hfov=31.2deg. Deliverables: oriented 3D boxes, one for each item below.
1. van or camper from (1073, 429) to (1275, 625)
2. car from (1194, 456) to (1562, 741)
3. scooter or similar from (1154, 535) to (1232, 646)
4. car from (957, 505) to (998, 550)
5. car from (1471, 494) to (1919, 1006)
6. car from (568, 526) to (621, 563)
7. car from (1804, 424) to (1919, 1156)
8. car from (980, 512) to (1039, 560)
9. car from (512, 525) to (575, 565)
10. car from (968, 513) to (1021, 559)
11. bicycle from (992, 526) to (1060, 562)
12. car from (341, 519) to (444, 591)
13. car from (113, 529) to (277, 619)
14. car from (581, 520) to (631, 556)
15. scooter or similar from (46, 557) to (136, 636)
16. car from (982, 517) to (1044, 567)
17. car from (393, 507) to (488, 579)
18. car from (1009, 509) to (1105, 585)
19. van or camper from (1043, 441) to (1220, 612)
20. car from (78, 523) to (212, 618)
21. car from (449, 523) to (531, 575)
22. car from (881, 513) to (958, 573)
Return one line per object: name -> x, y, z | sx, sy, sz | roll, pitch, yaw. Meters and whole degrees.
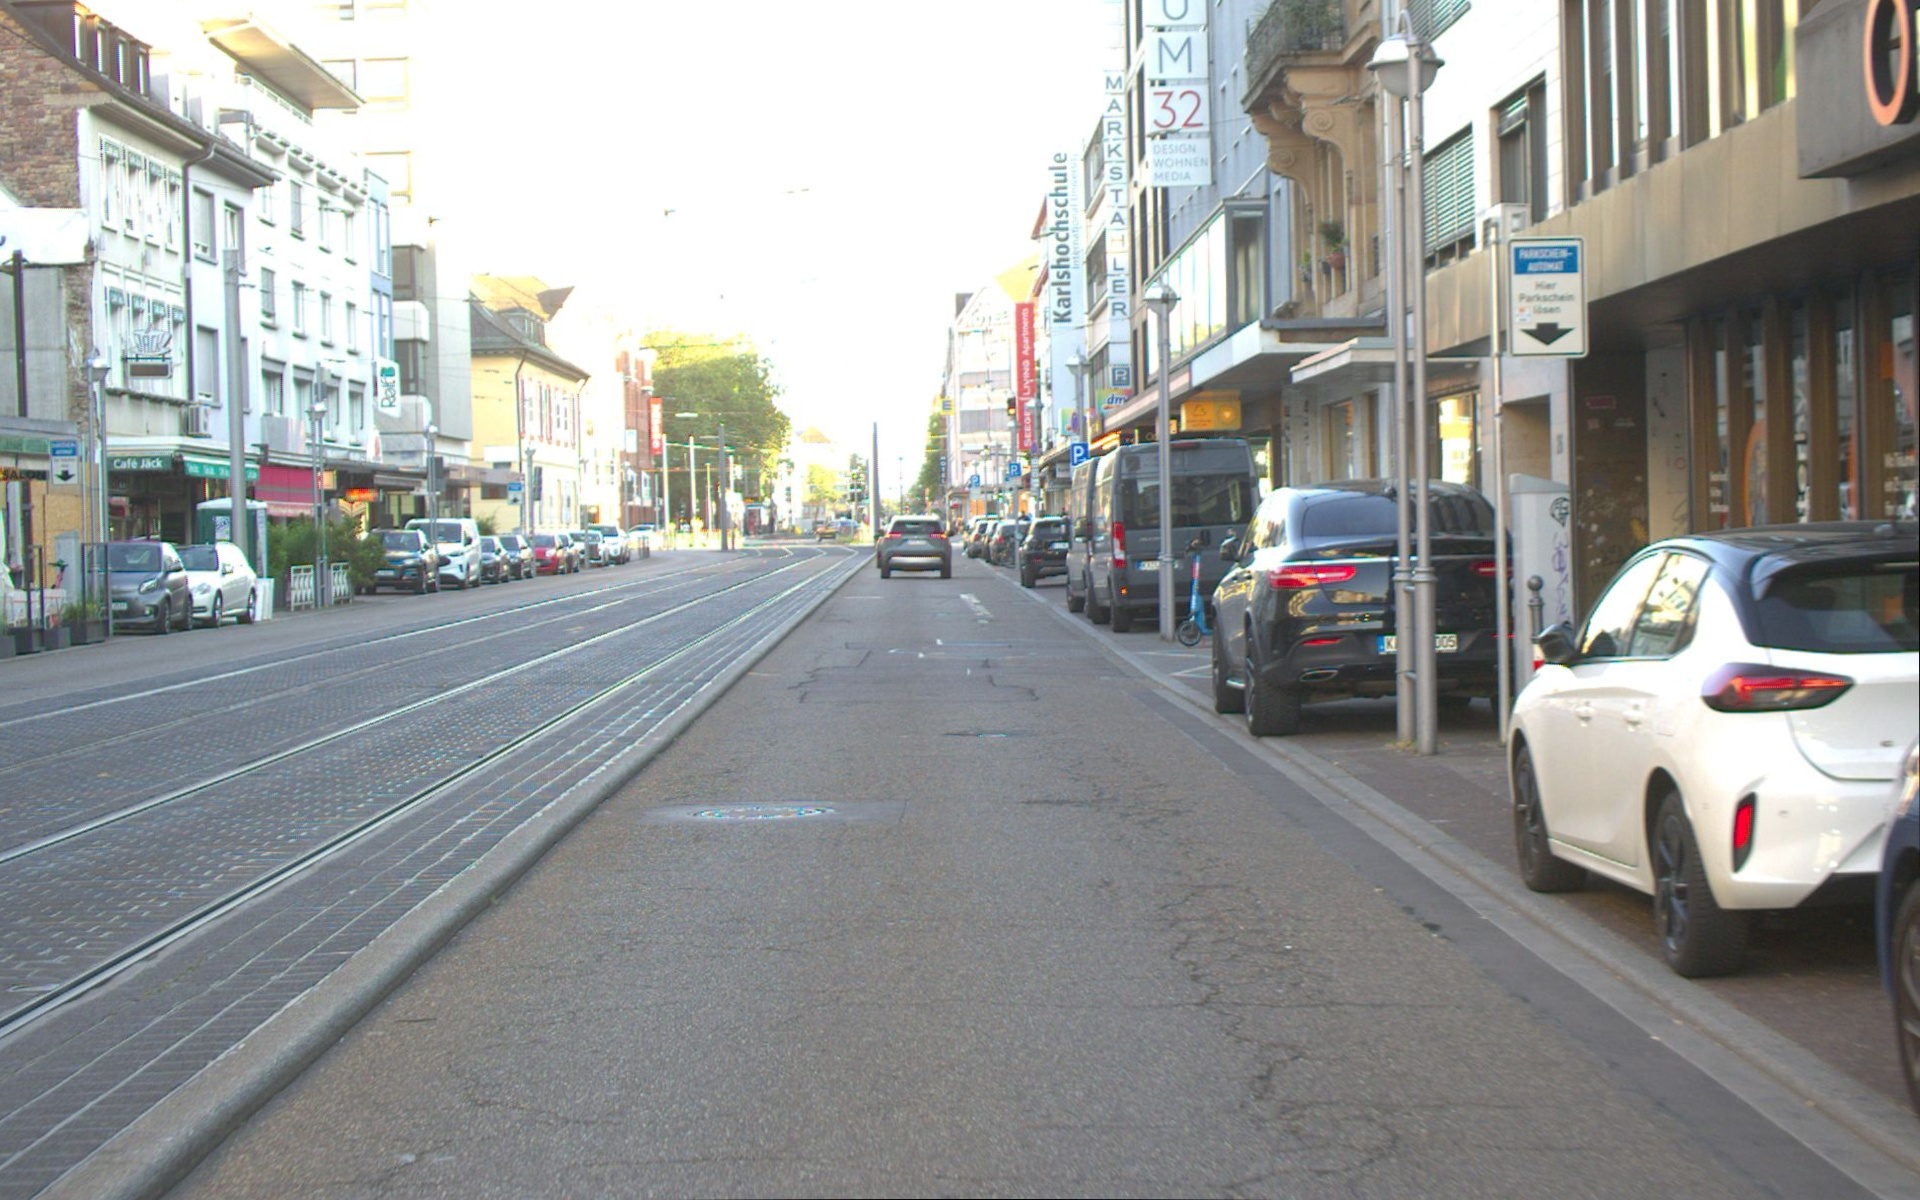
van or camper -> 2.887, -1.020, 47.772 | 2.188, 2.418, 6.133 | -4, 1, -1
car -> 2.864, -0.064, 24.589 | 1.984, 1.728, 4.671 | -3, 1, 0
scooter or similar -> 2.708, -0.116, 39.884 | 0.355, 1.219, 1.113 | -3, 1, 32
car -> 0.880, -3.685, 175.019 | 1.944, 2.138, 4.545 | -3, 1, 0
car -> 3.081, 0.399, 12.384 | 1.766, 1.480, 3.873 | -4, 1, -1
car -> -14.730, -2.238, 138.624 | 1.790, 1.444, 3.892 | 1, 1, -1
car -> 3.157, 0.430, 6.496 | 1.915, 1.711, 4.564 | -4, 1, 0
car -> 1.714, -2.248, 120.324 | 1.944, 1.539, 4.545 | -3, 1, 0
car -> -14.546, -1.946, 120.122 | 1.790, 1.334, 3.892 | 1, 1, -1
car -> 1.354, -2.567, 136.537 | 1.944, 1.697, 4.545 | -3, 1, 0
bicycle -> 2.131, -1.811, 111.329 | 2.118, 1.086, 0.592 | -2, 1, -3
car -> -14.494, -1.172, 87.992 | 1.917, 1.757, 4.430 | 1, 1, 0
car -> -13.605, -0.496, 61.404 | 1.849, 1.499, 4.842 | 1, 1, 0
car -> -14.876, -2.626, 144.668 | 1.790, 1.444, 3.892 | 1, 1, -1
scooter or similar -> -13.548, -0.052, 53.595 | 1.314, 1.200, 0.294 | 1, 1, 0
car -> 1.749, -1.959, 114.875 | 1.944, 1.539, 4.545 | -3, 1, 0
car -> -14.482, -1.611, 96.111 | 1.917, 1.929, 4.842 | 1, 1, 0
car -> 2.145, -1.207, 77.003 | 1.944, 1.539, 4.545 | -3, 1, 0
van or camper -> 2.635, -1.158, 54.082 | 2.188, 2.418, 5.518 | -4, 1, -2
car -> -13.453, -0.502, 56.883 | 1.591, 1.499, 2.813 | 1, 1, -1
car -> -14.206, -1.557, 104.055 | 1.917, 1.516, 4.630 | 1, 1, -1
car -> -1.052, -1.537, 91.613 | 1.944, 1.539, 4.545 | -1, 1, 0
